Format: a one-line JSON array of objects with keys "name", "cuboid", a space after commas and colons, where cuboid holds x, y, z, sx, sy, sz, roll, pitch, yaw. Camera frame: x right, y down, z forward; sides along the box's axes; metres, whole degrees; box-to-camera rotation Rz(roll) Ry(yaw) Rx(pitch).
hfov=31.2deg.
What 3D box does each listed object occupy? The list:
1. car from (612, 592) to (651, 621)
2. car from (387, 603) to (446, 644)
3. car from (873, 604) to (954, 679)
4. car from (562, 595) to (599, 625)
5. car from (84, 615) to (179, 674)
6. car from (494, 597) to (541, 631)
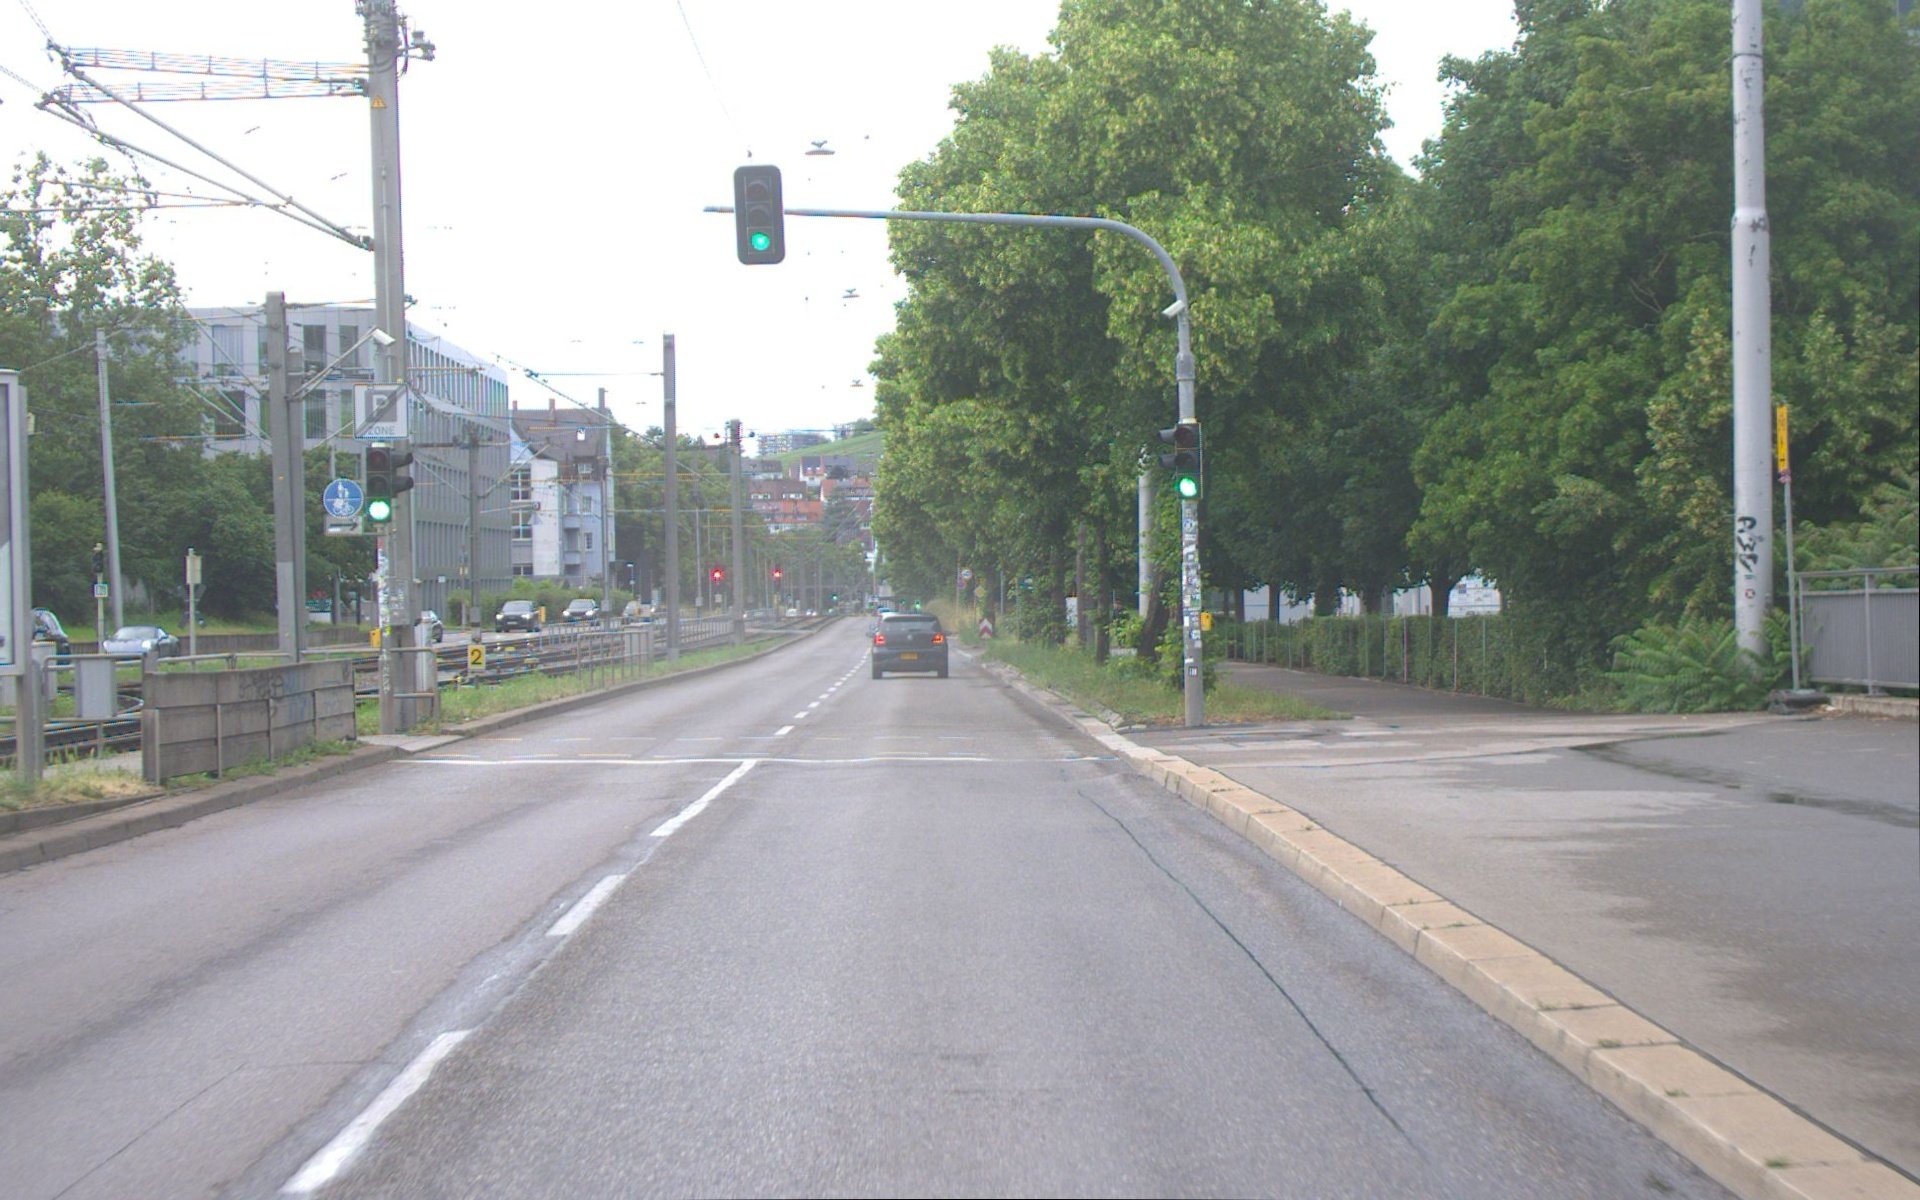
[{"name": "car", "cuboid": [-20.833, 0.391, 217.929, 1.850, 1.626, 3.609, 2, 2, 4]}, {"name": "car", "cuboid": [-24.501, 1.030, 154.984, 1.850, 1.626, 3.609, 2, 2, 4]}, {"name": "car", "cuboid": [-1.046, 0.888, 75.421, 1.726, 1.535, 4.000, 0, 1, -1]}, {"name": "car", "cuboid": [-23.358, 0.622, 211.746, 1.653, 1.626, 3.609, 2, 2, 4]}, {"name": "car", "cuboid": [-26.242, 1.403, 109.052, 1.850, 1.626, 3.812, 2, 2, 4]}, {"name": "car", "cuboid": [-23.812, 0.751, 185.091, 1.850, 1.626, 3.609, 2, 2, 4]}]
